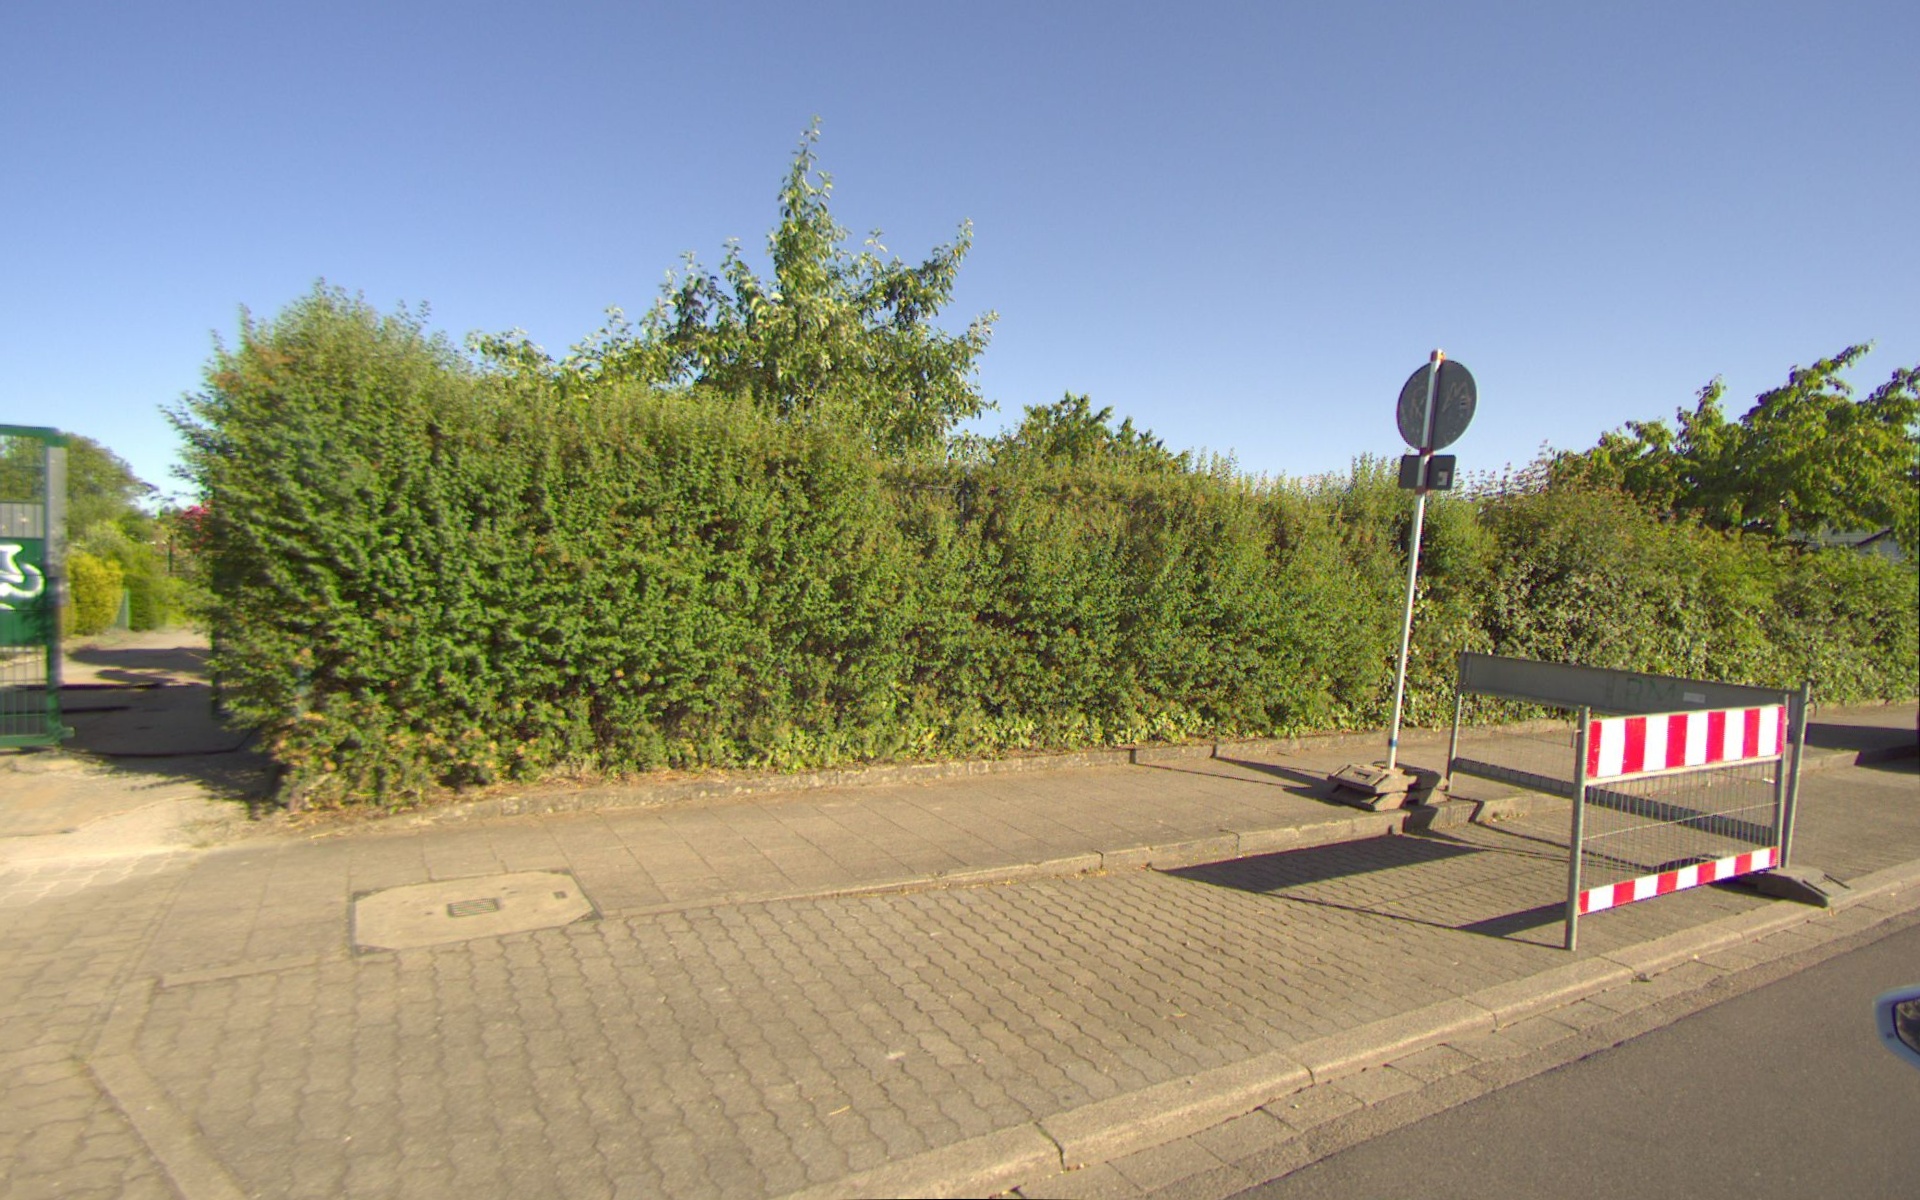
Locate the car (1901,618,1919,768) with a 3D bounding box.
[{"bbox_3d":[11.506,0.989,10.461,3.529,1.515,1.552,1,0,-31],"label":"car"}]
